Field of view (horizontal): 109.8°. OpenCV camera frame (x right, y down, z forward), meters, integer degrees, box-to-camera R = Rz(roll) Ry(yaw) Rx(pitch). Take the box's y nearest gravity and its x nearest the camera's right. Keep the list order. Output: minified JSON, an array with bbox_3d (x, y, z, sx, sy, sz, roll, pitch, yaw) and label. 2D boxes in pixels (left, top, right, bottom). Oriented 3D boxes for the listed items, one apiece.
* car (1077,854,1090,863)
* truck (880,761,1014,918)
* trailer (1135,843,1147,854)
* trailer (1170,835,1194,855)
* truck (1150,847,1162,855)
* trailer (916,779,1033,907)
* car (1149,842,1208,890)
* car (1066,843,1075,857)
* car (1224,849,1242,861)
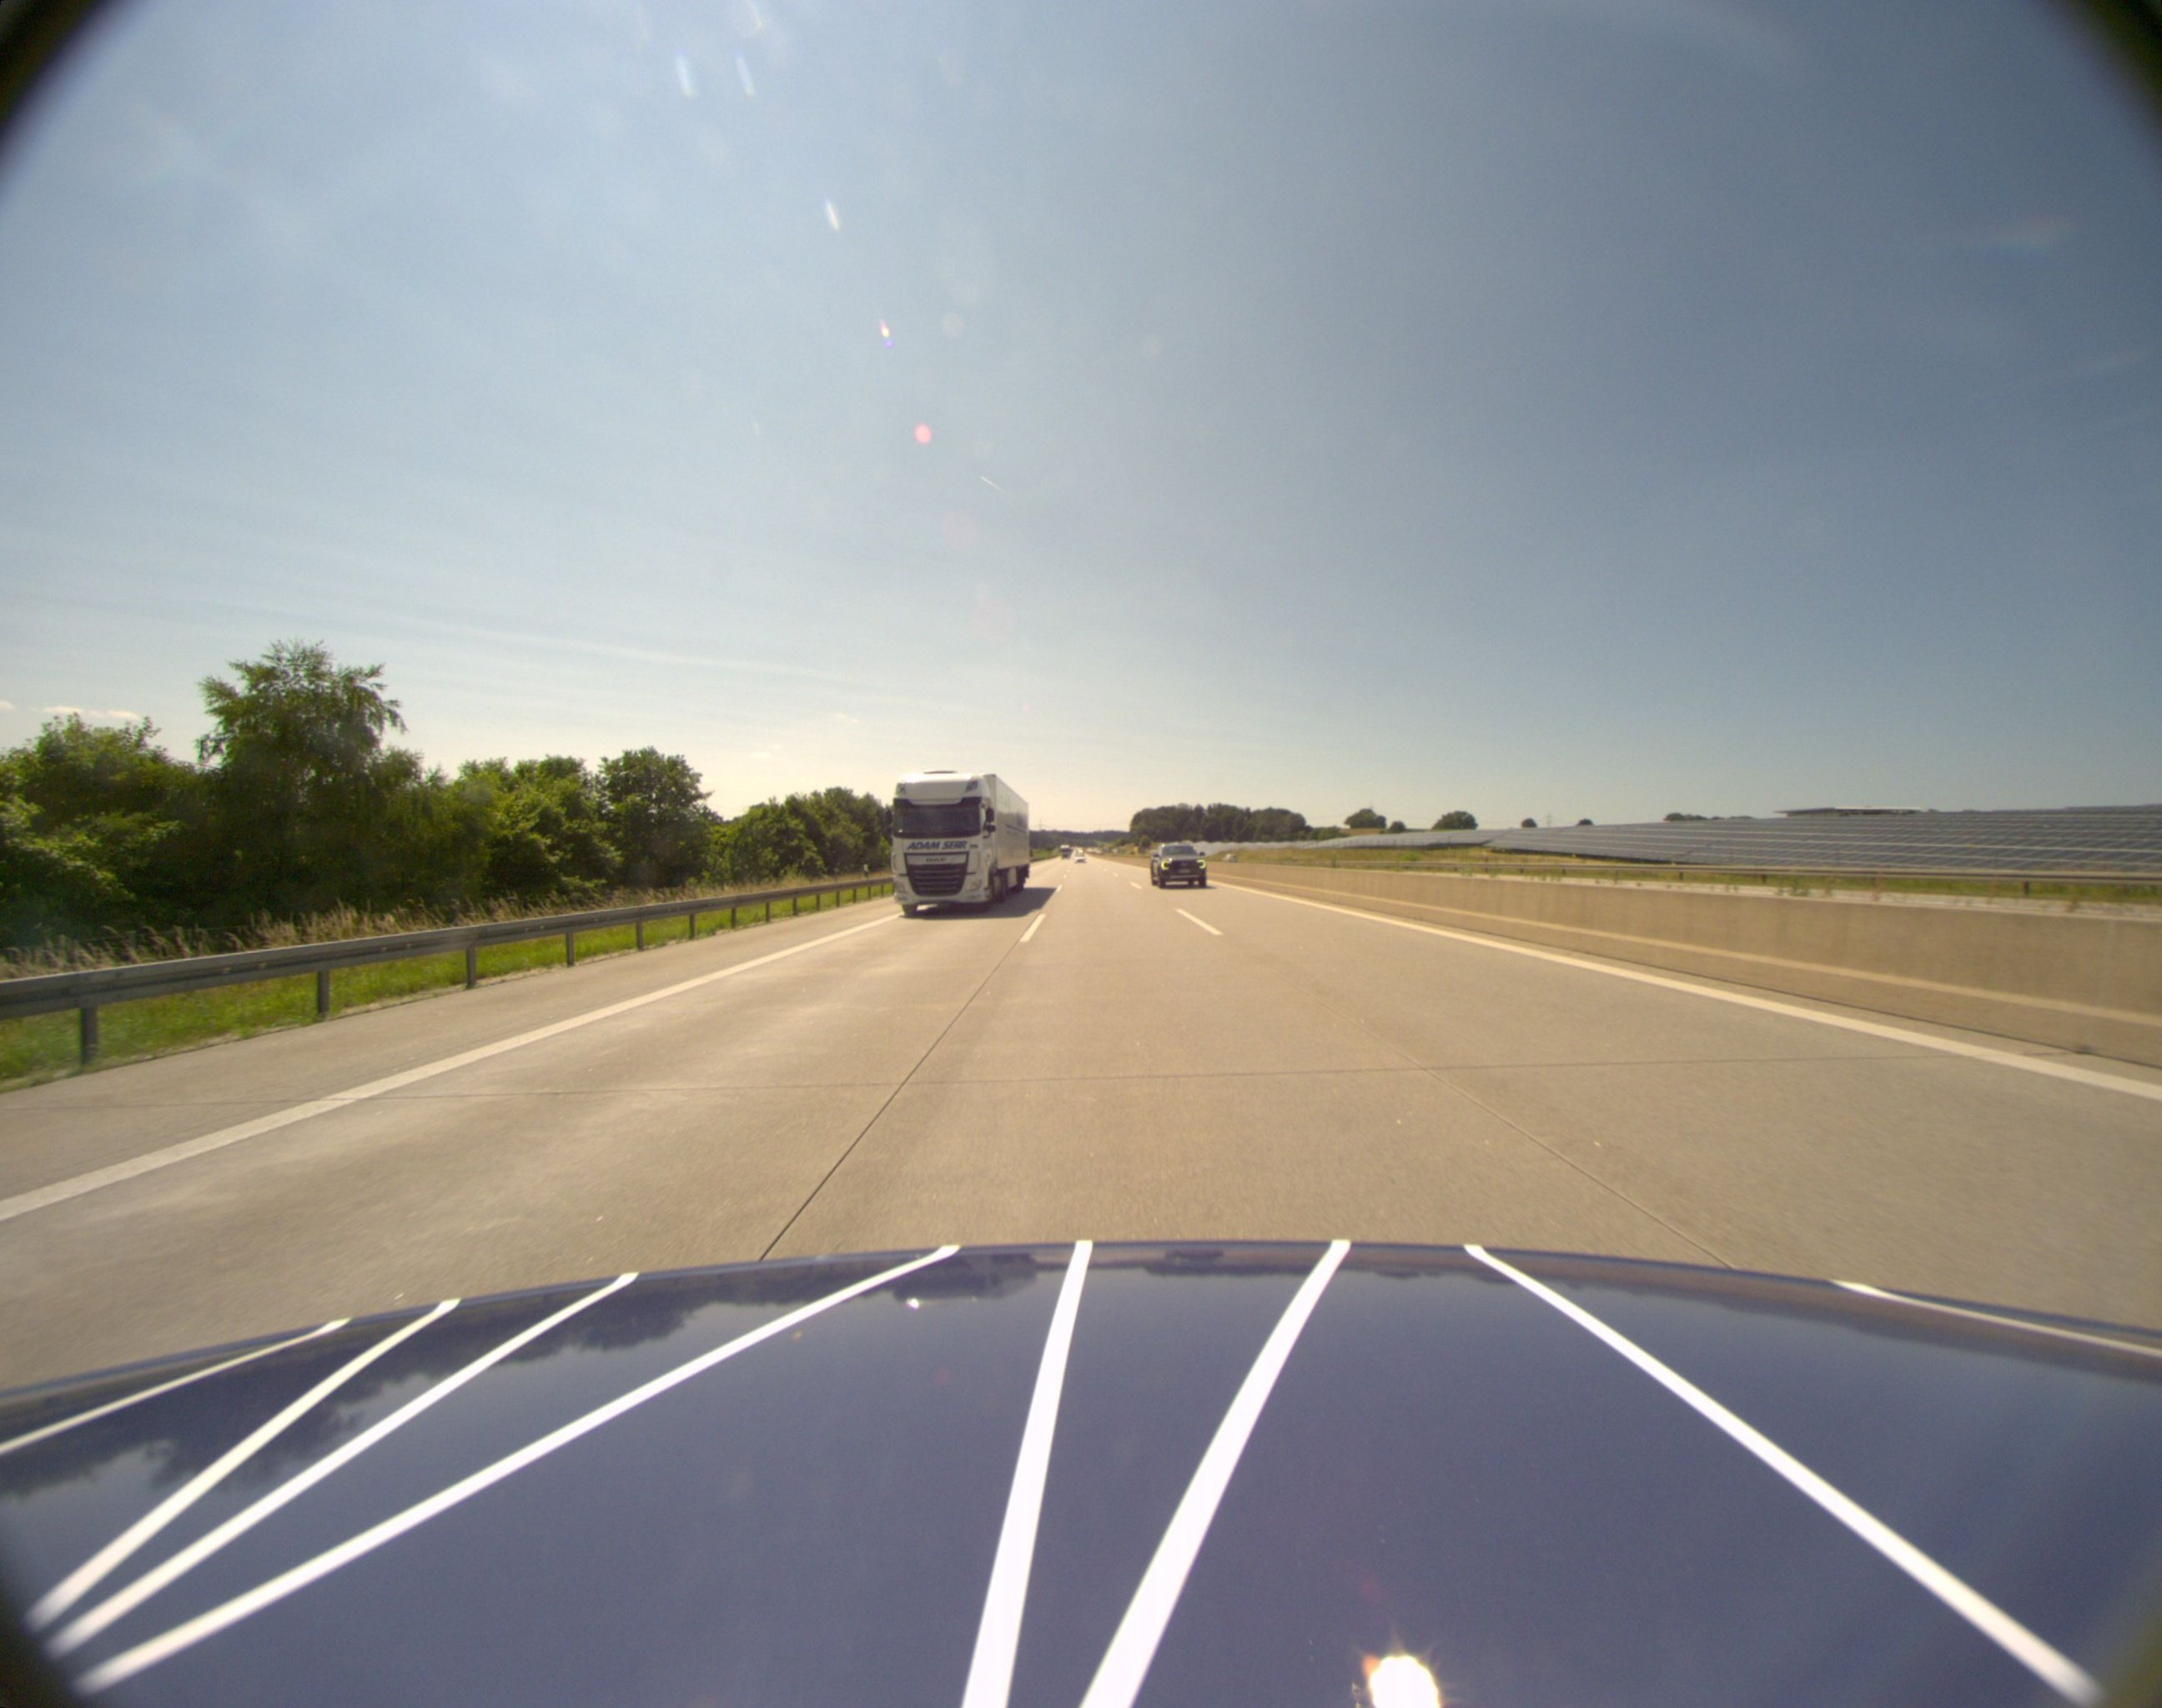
[{"bbox_3d":[0.363,0.705,124.832,2.065,1.472,5.068,-1,0,-1],"label":"car"},{"bbox_3d":[-3.795,-0.394,22.960,2.819,4.064,5.798,-1,1,1],"label":"truck"},{"bbox_3d":[20.670,-1.910,261.201,2.939,3.530,14.017,1,1,0],"label":"trailer"},{"bbox_3d":[21.265,-1.875,161.467,3.098,3.981,14.138,-2,1,0],"label":"trailer"},{"bbox_3d":[20.784,-0.878,210.191,2.523,2.002,7.628,-2,1,0],"label":"truck"},{"bbox_3d":[-3.784,-0.394,30.555,2.860,4.019,12.711,-1,0,0],"label":"trailer"},{"bbox_3d":[4.118,0.447,33.097,1.998,1.836,6.530,-2,1,3],"label":"car"},{"bbox_3d":[-3.126,-1.177,232.717,2.766,4.029,10.851,0,0,0],"label":"car"},{"bbox_3d":[20.477,0.110,102.631,1.630,1.474,3.999,-2,1,0],"label":"car"}]
